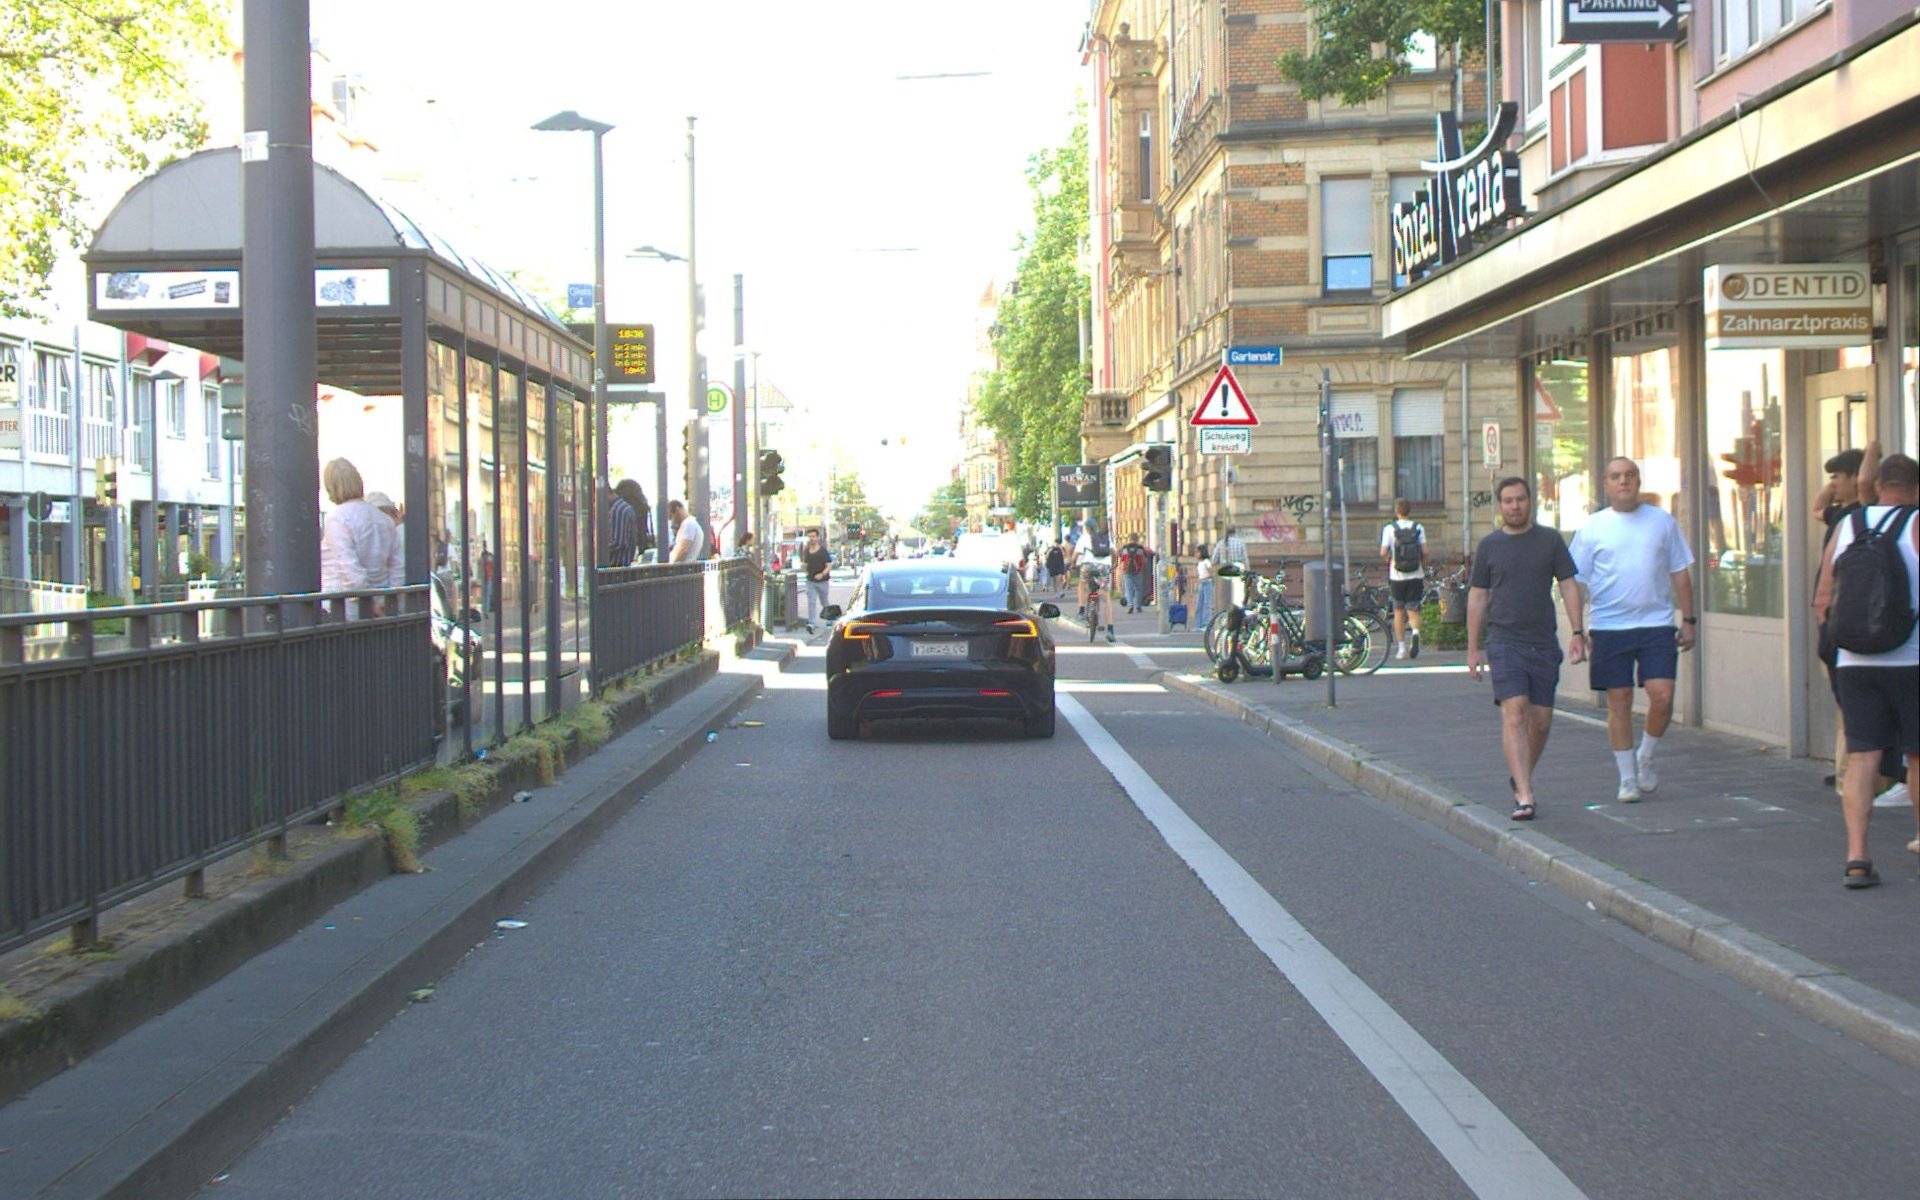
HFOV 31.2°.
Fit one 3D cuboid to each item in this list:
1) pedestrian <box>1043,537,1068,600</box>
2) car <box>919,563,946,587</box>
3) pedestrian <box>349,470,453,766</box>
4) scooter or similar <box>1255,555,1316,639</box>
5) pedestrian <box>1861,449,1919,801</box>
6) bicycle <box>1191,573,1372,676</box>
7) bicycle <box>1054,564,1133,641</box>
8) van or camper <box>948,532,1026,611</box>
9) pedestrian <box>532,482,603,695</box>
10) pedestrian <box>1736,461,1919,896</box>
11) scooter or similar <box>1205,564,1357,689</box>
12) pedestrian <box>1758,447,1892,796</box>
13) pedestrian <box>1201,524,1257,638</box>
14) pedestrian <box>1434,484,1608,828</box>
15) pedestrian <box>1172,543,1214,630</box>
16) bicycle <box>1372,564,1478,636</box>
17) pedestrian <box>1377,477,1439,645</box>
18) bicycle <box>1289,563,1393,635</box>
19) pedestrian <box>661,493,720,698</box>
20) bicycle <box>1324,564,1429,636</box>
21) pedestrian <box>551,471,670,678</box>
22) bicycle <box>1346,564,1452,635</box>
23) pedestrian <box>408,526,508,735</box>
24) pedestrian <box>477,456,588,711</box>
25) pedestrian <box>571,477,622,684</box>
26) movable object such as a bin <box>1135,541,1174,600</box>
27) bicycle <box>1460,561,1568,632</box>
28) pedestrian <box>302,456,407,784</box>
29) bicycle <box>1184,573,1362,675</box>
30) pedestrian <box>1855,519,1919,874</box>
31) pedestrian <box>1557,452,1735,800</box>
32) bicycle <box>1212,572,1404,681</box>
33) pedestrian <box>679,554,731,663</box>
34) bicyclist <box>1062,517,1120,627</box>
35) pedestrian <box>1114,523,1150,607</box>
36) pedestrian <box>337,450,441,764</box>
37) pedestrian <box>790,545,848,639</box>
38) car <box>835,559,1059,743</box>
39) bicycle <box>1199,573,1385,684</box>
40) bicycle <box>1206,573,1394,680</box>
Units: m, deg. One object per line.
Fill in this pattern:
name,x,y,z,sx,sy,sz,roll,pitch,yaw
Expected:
pedestrian,2.758,-0.907,99.039,0.672,1.808,0.756,-1,0,-1
car,-1.697,-1.545,213.646,1.593,1.428,3.686,-1,0,0
pedestrian,-3.000,0.093,18.460,0.321,1.567,0.542,1,0,20
scooter or similar,5.105,-0.058,53.985,0.390,1.285,1.523,-1,1,-16
pedestrian,4.993,0.116,17.497,0.629,1.763,0.501,-2,1,0
bicycle,3.596,0.274,38.504,1.945,1.103,0.564,-1,1,-2
bicycle,2.013,0.029,52.183,0.647,1.135,2.096,0,1,-14
van or camper,0.695,-0.736,92.187,1.931,2.030,5.475,1,0,-1
pedestrian,-3.080,-0.094,26.988,0.493,1.643,0.590,0,1,-2
pedestrian,3.655,0.311,14.074,0.744,1.721,0.814,1,0,0
scooter or similar,3.344,0.274,35.862,1.478,1.225,0.591,-3,1,0
pedestrian,4.692,0.108,18.671,0.451,1.843,0.812,-2,1,-2
pedestrian,4.307,-0.313,55.082,0.847,1.801,0.876,-1,2,4
pedestrian,2.930,0.282,18.015,0.667,1.723,0.810,-3,1,-1
pedestrian,3.846,-0.228,56.808,0.574,1.410,0.580,1,1,14
bicycle,7.409,-0.002,54.808,0.443,1.111,1.814,-1,1,-41
pedestrian,5.498,-0.465,42.180,0.716,1.978,0.942,1,-4,8
bicycle,6.005,-0.014,54.239,0.443,1.111,1.814,-1,1,-40
pedestrian,-2.814,-0.050,35.937,0.537,2.113,0.808,-1,1,-1
bicycle,6.570,-0.009,54.326,0.443,1.111,1.814,-1,1,-40
pedestrian,-3.136,-0.226,30.813,0.770,1.825,0.804,1,0,-31
bicycle,6.961,-0.006,54.586,0.443,1.111,1.814,-1,1,-41
pedestrian,-3.041,0.181,20.864,0.540,1.248,0.460,0,0,-1
pedestrian,-3.007,-0.123,24.214,0.689,1.759,0.748,-1,1,-2
pedestrian,-2.954,-0.165,27.953,0.351,1.663,0.529,-1,1,-2
movable object such as a bin,4.519,-0.678,79.779,0.775,1.343,1.299,-1,0,-2
bicycle,8.830,-0.058,54.829,0.443,1.111,1.814,-1,1,-41
pedestrian,-2.932,0.094,16.671,0.424,1.568,0.448,0,1,0
bicycle,3.557,0.270,39.152,1.945,1.103,0.564,-1,1,-2
pedestrian,4.277,0.386,14.698,0.636,1.478,0.654,-3,1,-1
pedestrian,3.713,0.134,18.653,0.706,1.814,0.763,-3,1,0
bicycle,3.682,0.281,36.476,1.945,1.103,0.564,-1,1,-2
pedestrian,-3.122,0.107,42.102,0.480,1.325,0.354,-1,1,29
bicyclist,1.985,-0.422,52.267,0.655,1.650,0.927,0,0,-14
pedestrian,3.592,-0.736,71.881,0.470,1.722,0.586,0,2,36
pedestrian,-2.904,0.031,17.509,0.424,1.568,0.592,0,1,0
pedestrian,-2.337,-0.132,57.006,0.842,1.543,0.699,0,1,8
car,-0.152,0.373,28.411,1.719,1.400,3.710,0,1,-2
bicycle,3.636,0.303,37.744,1.945,1.162,0.628,-1,1,-2
bicycle,3.662,0.280,37.089,1.945,1.103,0.564,-1,1,-2
